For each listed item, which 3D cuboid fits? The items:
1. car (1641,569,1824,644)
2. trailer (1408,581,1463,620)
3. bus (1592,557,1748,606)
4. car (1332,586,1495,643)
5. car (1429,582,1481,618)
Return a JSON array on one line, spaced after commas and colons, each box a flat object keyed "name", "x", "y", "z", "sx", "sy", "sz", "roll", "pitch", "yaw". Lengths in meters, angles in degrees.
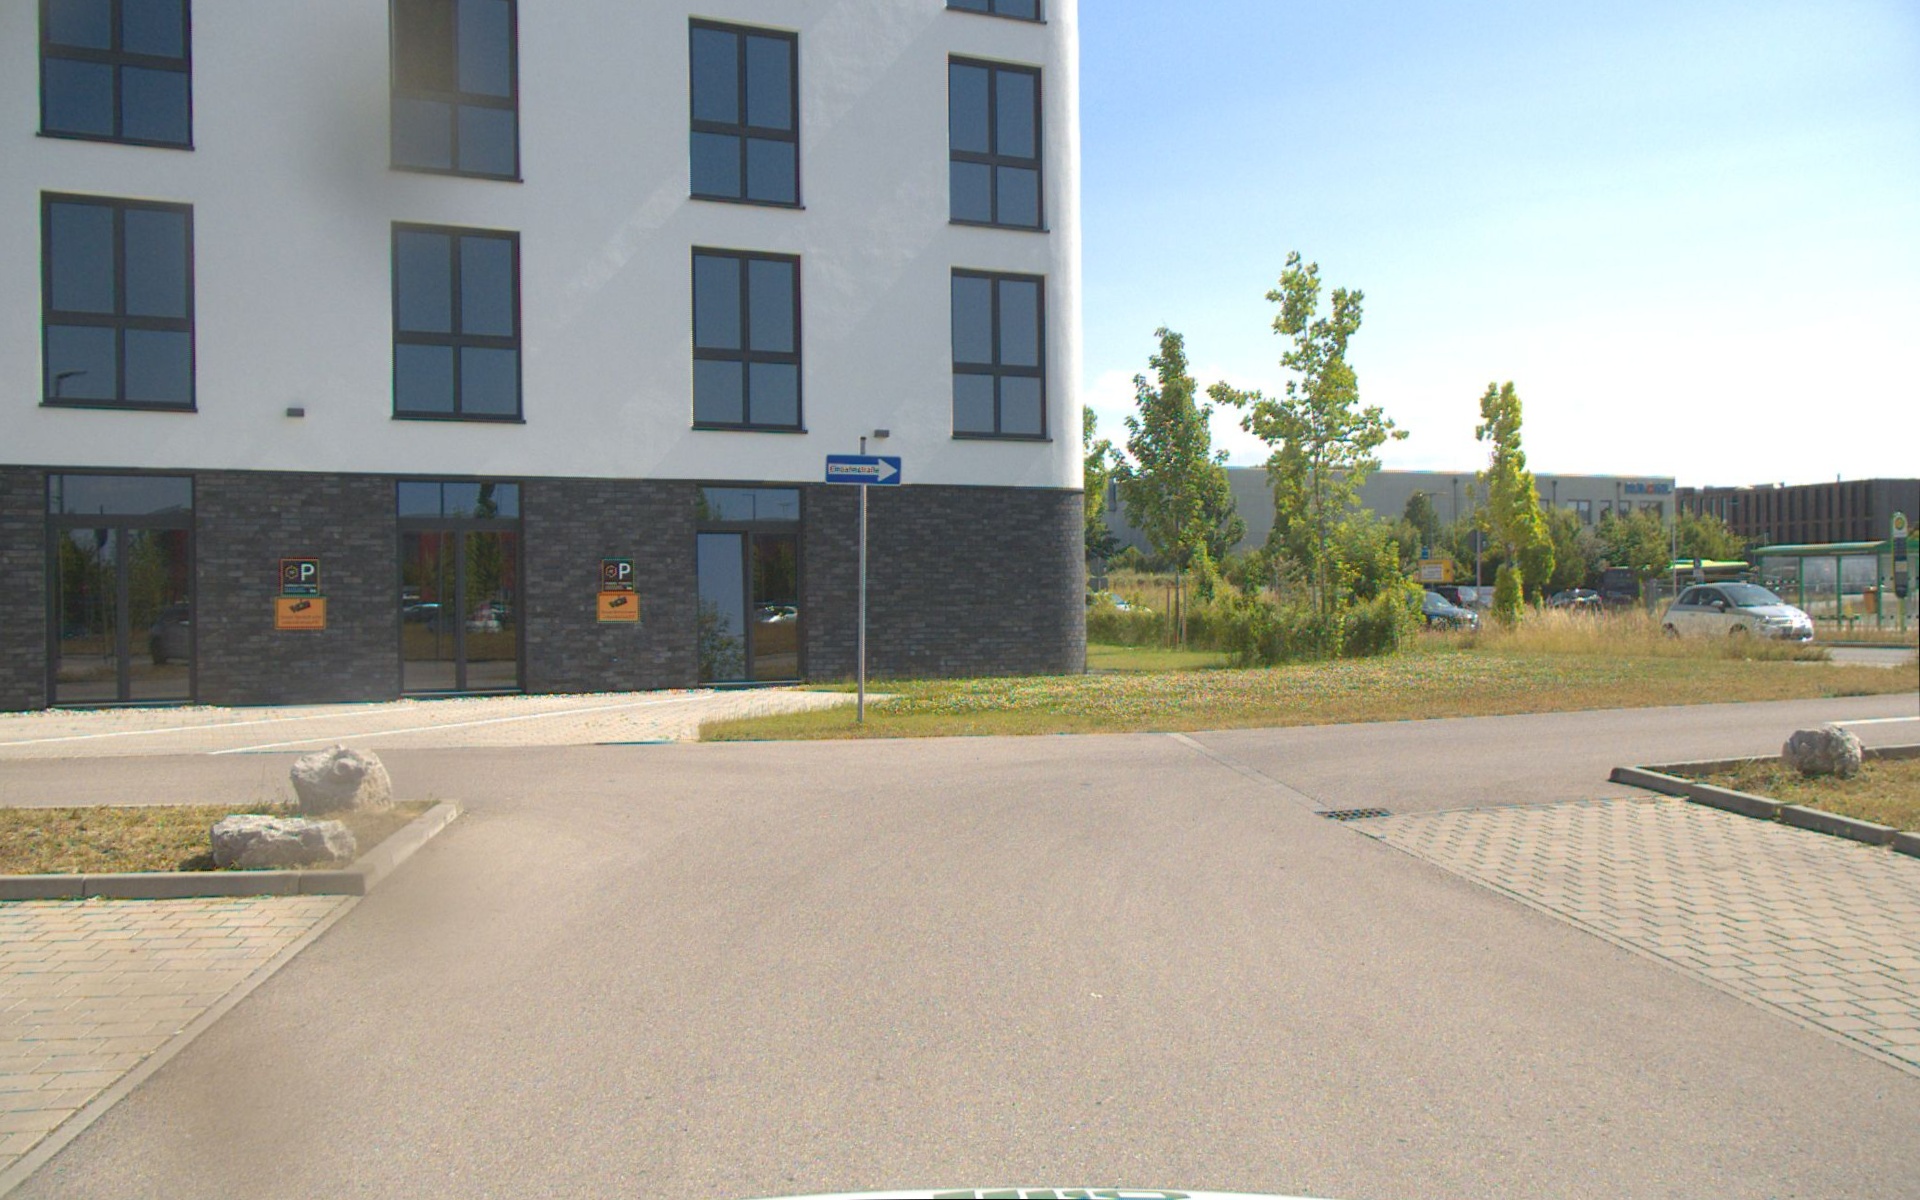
[{"name": "car", "x": 17.229, "y": 0.116, "z": 37.062, "sx": 1.707, "sy": 1.578, "sz": 3.768, "roll": 0, "pitch": 1, "yaw": -15}, {"name": "trailer", "x": 24.074, "y": 0.011, "z": 83.643, "sx": 1.788, "sy": 1.892, "sz": 3.992, "roll": 0, "pitch": 1, "yaw": 30}, {"name": "bus", "x": 43.292, "y": -1.174, "z": 100.659, "sx": 11.412, "sy": 2.783, "sz": 2.554, "roll": -1, "pitch": 1, "yaw": -31}, {"name": "car", "x": 13.239, "y": 0.399, "z": 48.455, "sx": 1.897, "sy": 1.578, "sz": 4.323, "roll": 0, "pitch": 1, "yaw": -41}, {"name": "car", "x": 26.080, "y": -0.024, "z": 87.089, "sx": 1.788, "sy": 1.892, "sz": 3.992, "roll": 0, "pitch": 1, "yaw": 30}]
